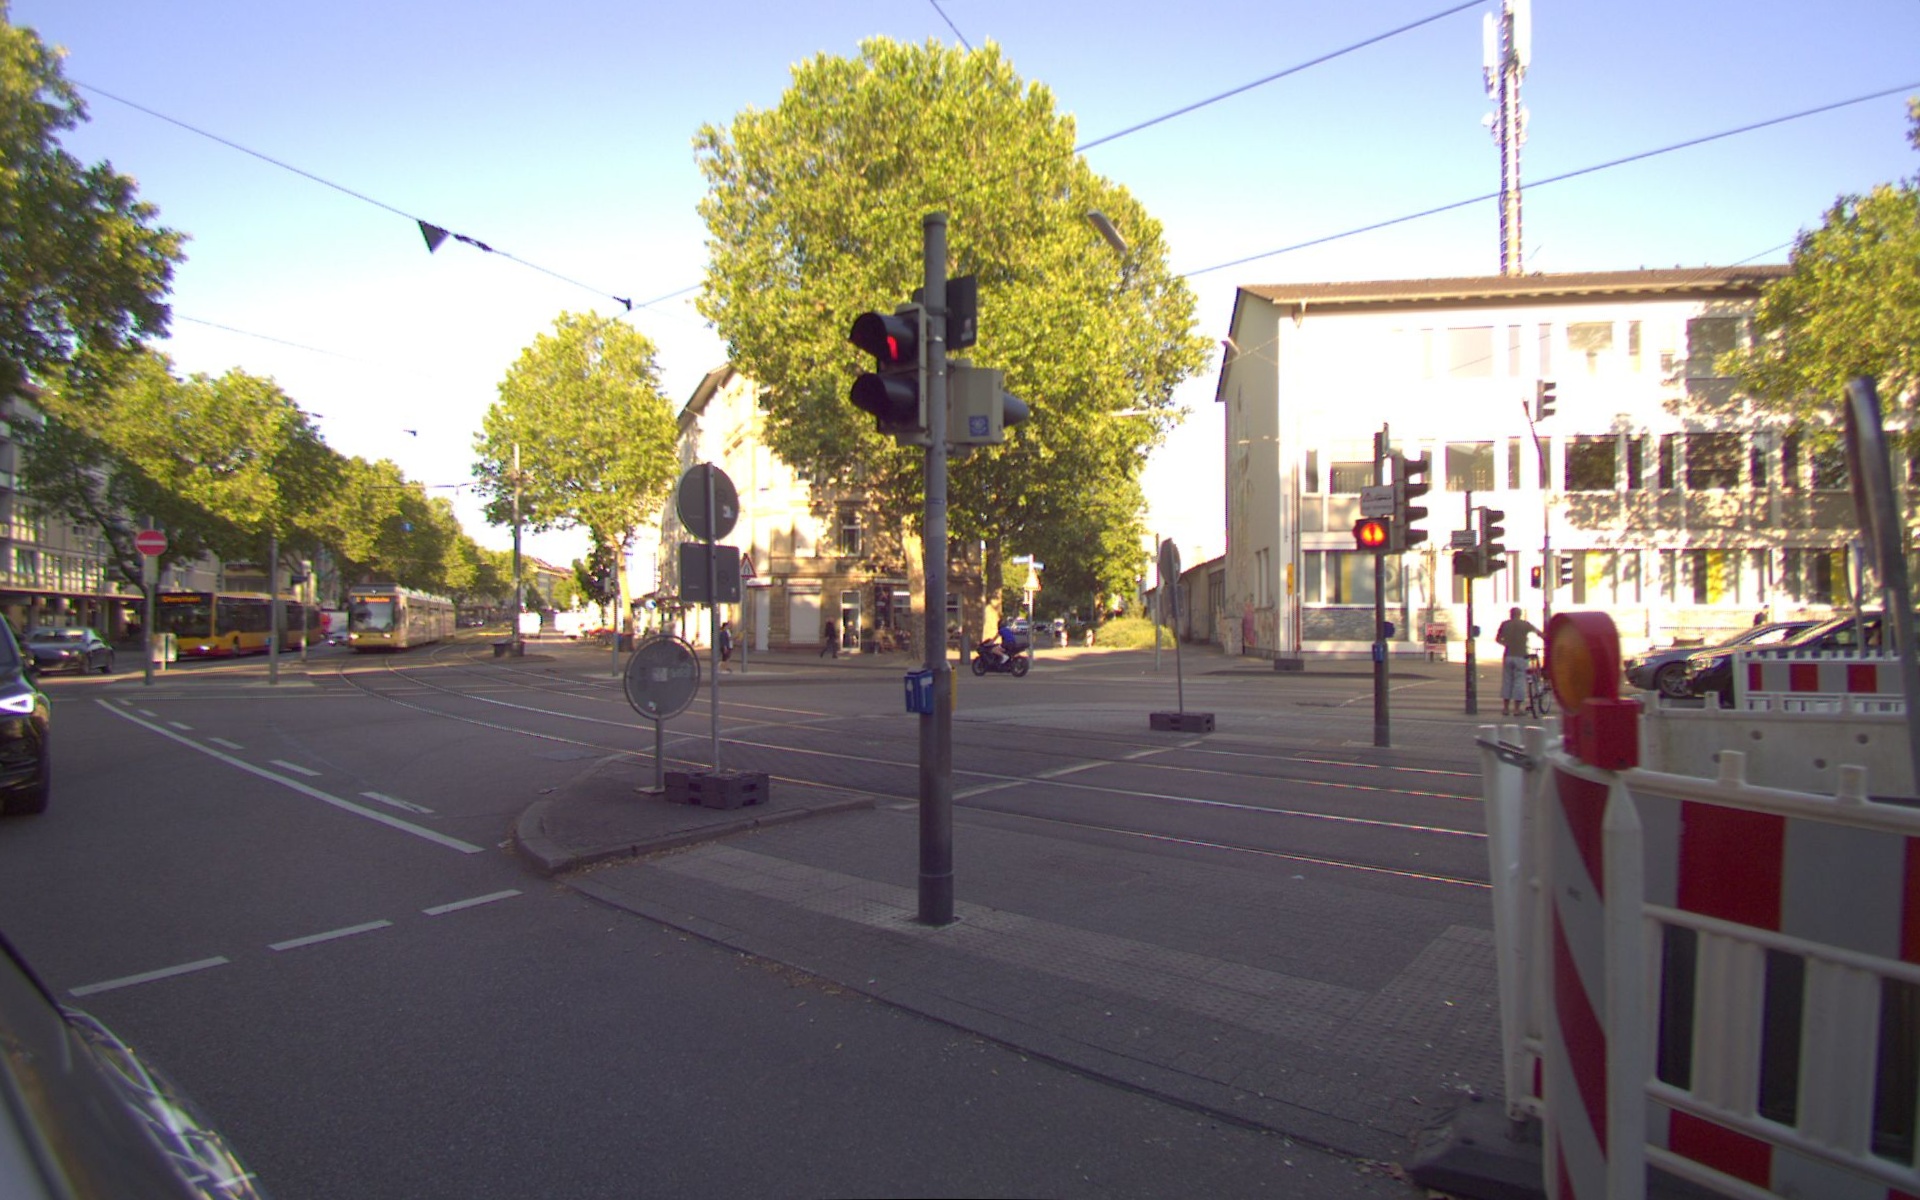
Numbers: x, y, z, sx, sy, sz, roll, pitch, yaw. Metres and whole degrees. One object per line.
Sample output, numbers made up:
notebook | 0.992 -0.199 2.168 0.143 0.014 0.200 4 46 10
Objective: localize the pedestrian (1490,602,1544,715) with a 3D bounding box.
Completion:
pedestrian | 9.017 0.932 16.379 0.596 1.772 0.588 -2 -2 44

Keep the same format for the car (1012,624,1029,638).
car | 6.951 3.573 116.562 1.704 1.505 3.998 0 -2 2

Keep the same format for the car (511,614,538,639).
car | -39.414 2.409 91.577 2.130 2.138 4.994 2 -3 -23

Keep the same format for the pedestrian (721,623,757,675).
pedestrian | -6.583 1.456 30.203 0.794 1.520 0.794 -1 -2 15

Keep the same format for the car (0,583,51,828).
car | -8.570 0.756 7.873 4.299 1.670 1.824 -2 -2 43

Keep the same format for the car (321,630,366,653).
car | -43.607 2.930 71.714 1.880 1.486 4.432 1 -1 -20

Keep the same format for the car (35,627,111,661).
car | -41.169 2.022 47.060 1.624 1.483 3.720 0 -2 -24

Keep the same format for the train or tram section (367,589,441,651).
train or tram section | -34.345 1.256 62.846 2.795 3.514 10.372 0 -1 -22

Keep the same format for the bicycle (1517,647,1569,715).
bicycle | 9.077 1.241 15.748 0.322 0.973 1.559 -2 -2 44

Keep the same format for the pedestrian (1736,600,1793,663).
pedestrian | 22.575 0.892 28.413 0.872 1.742 0.809 0 -2 -4

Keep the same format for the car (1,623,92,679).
car | -26.401 1.455 29.349 1.626 1.483 3.716 1 -2 -37

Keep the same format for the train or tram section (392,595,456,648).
train or tram section | -38.199 1.537 72.450 2.830 3.514 10.372 0 -1 -21

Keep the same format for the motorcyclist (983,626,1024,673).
motorcyclist | 1.245 1.408 29.020 0.983 1.325 0.674 -2 -3 38

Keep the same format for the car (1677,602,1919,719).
car | 14.043 0.891 15.734 4.572 1.680 1.880 -1 0 32

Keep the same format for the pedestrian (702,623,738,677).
pedestrian | -6.975 1.446 29.414 0.793 1.520 0.795 -1 -2 10

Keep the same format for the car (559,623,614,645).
car | -33.566 3.046 91.118 1.894 1.991 4.608 -1 -2 26

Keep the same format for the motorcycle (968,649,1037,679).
motorcycle | 1.206 1.812 29.043 1.992 0.814 0.674 -2 -3 38

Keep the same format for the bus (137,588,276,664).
bus | -34.279 1.215 46.495 2.707 3.127 9.527 0 -2 -22

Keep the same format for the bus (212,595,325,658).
bus | -37.544 1.467 55.367 2.707 3.127 9.526 0 -2 -19

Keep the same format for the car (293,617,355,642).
car | -61.465 2.809 97.869 1.871 2.394 4.822 0 -1 27

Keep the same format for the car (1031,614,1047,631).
car | 10.209 2.950 131.547 1.826 2.160 3.998 0 -2 2

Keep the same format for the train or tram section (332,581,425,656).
train or tram section | -30.345 0.994 53.228 2.776 3.514 10.372 0 -1 -22

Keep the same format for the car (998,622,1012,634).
car | 5.763 3.649 131.029 1.704 1.505 3.998 0 -2 2

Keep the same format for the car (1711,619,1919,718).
car | 16.401 1.192 18.015 4.676 1.667 1.932 -2 -3 34

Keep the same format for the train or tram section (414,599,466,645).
train or tram section | -42.022 1.771 82.059 2.795 3.514 10.372 0 -1 -22

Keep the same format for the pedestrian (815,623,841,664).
pedestrian | -5.745 1.877 44.029 0.801 1.769 0.787 -2 -2 38
